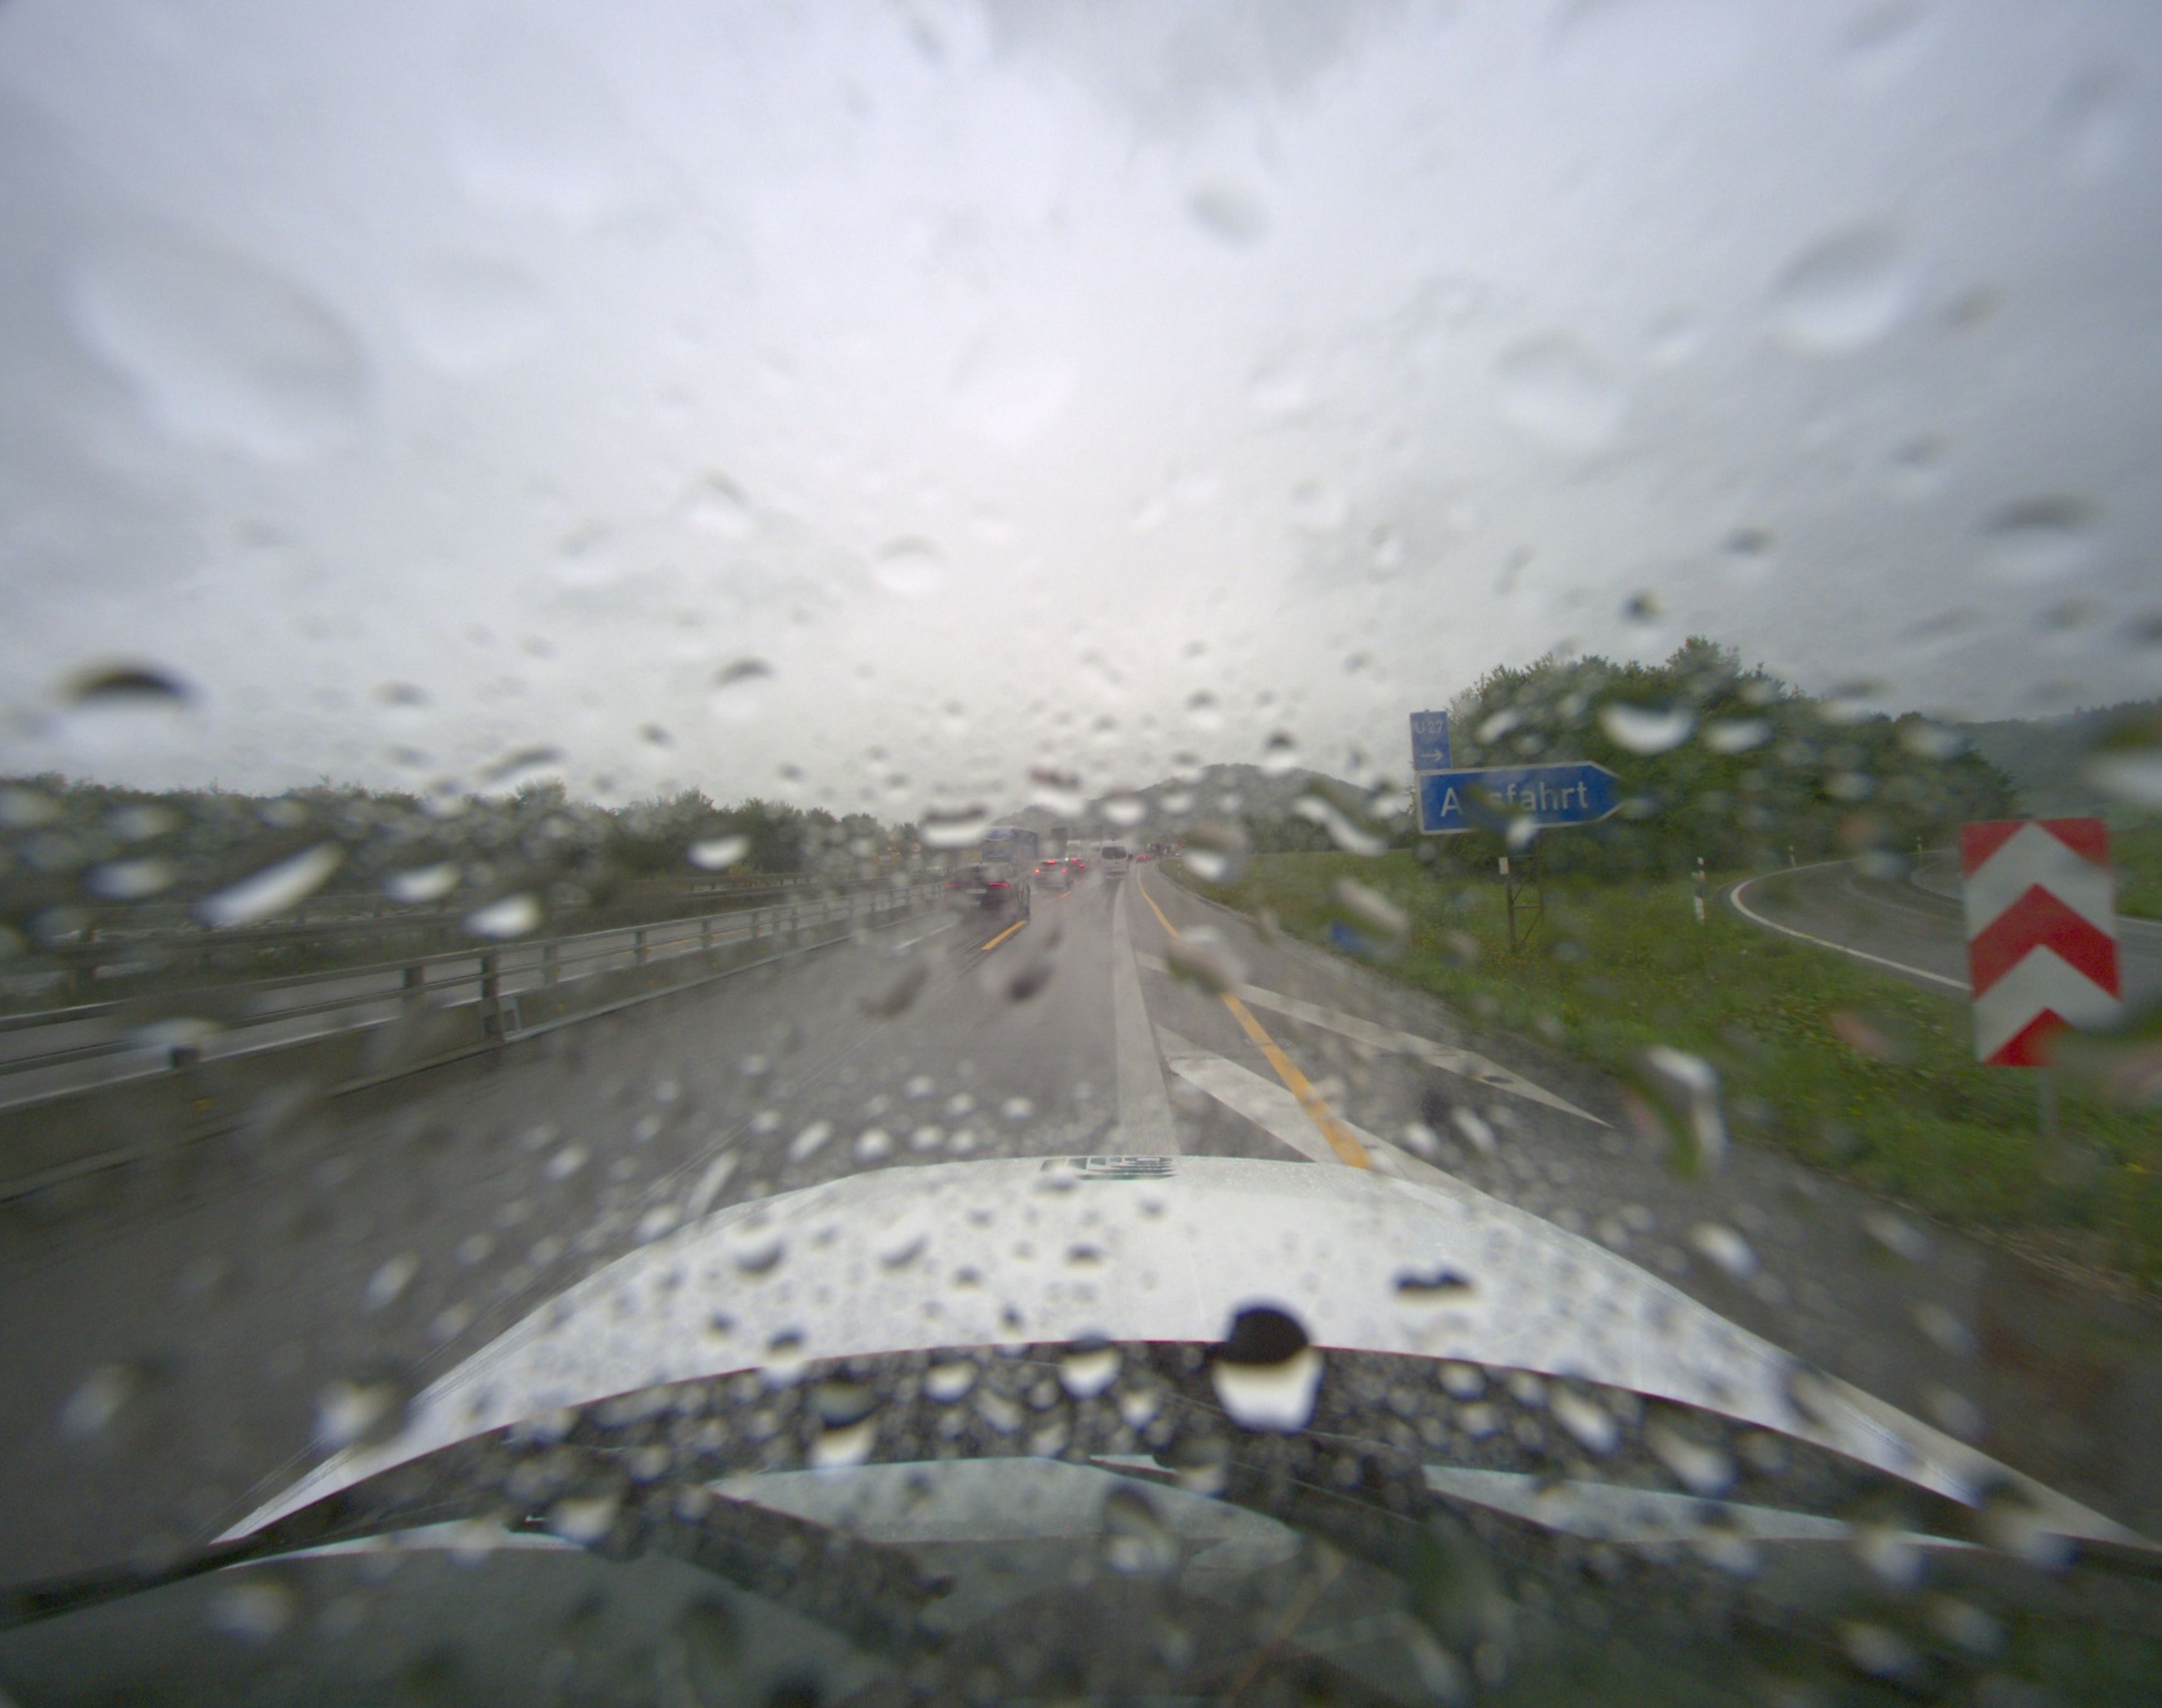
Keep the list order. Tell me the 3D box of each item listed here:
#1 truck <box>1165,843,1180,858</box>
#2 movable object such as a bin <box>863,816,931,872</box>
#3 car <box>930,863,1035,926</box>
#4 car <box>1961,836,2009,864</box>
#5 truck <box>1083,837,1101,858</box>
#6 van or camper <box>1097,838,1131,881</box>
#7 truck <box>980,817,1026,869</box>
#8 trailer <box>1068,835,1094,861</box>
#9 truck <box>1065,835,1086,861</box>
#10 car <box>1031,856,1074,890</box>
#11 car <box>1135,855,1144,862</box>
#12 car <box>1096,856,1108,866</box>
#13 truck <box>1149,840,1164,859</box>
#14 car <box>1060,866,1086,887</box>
[{"bbox_3d":[29.833,-1.114,264.177,3.902,4.785,9.939,0,0,12],"label":"truck"},{"bbox_3d":[-20.499,-1.019,91.933,4.150,5.915,11.062,0,0,6],"label":"movable object such as a bin"},{"bbox_3d":[-2.443,0.982,21.533,1.931,1.427,4.764,-1,0,3],"label":"car"},{"bbox_3d":[51.894,-0.209,46.739,3.652,1.508,1.686,0,-1,-40],"label":"car"},{"bbox_3d":[2.224,-1.299,161.983,2.870,4.101,6.935,-2,0,4],"label":"truck"},{"bbox_3d":[2.186,0.365,54.938,2.132,2.721,4.649,-1,0,1],"label":"van or camper"},{"bbox_3d":[-6.326,-0.870,67.256,2.612,4.081,6.676,-1,0,4],"label":"truck"},{"bbox_3d":[0.048,-1.061,137.017,2.480,4.049,12.616,-2,1,8],"label":"trailer"},{"bbox_3d":[-0.820,-1.010,130.993,2.470,4.031,6.462,-1,1,7],"label":"truck"},{"bbox_3d":[-1.430,0.945,42.607,1.859,1.659,3.991,-1,0,3],"label":"car"},{"bbox_3d":[10.020,0.746,139.335,1.379,1.078,3.123,-1,0,1],"label":"car"},{"bbox_3d":[2.388,0.784,93.873,1.257,1.078,3.257,-1,0,3],"label":"car"},{"bbox_3d":[19.064,-1.063,205.779,3.302,4.785,9.927,0,0,7],"label":"truck"},{"bbox_3d":[-0.549,1.677,62.428,1.846,1.500,4.001,-1,0,1],"label":"car"}]
